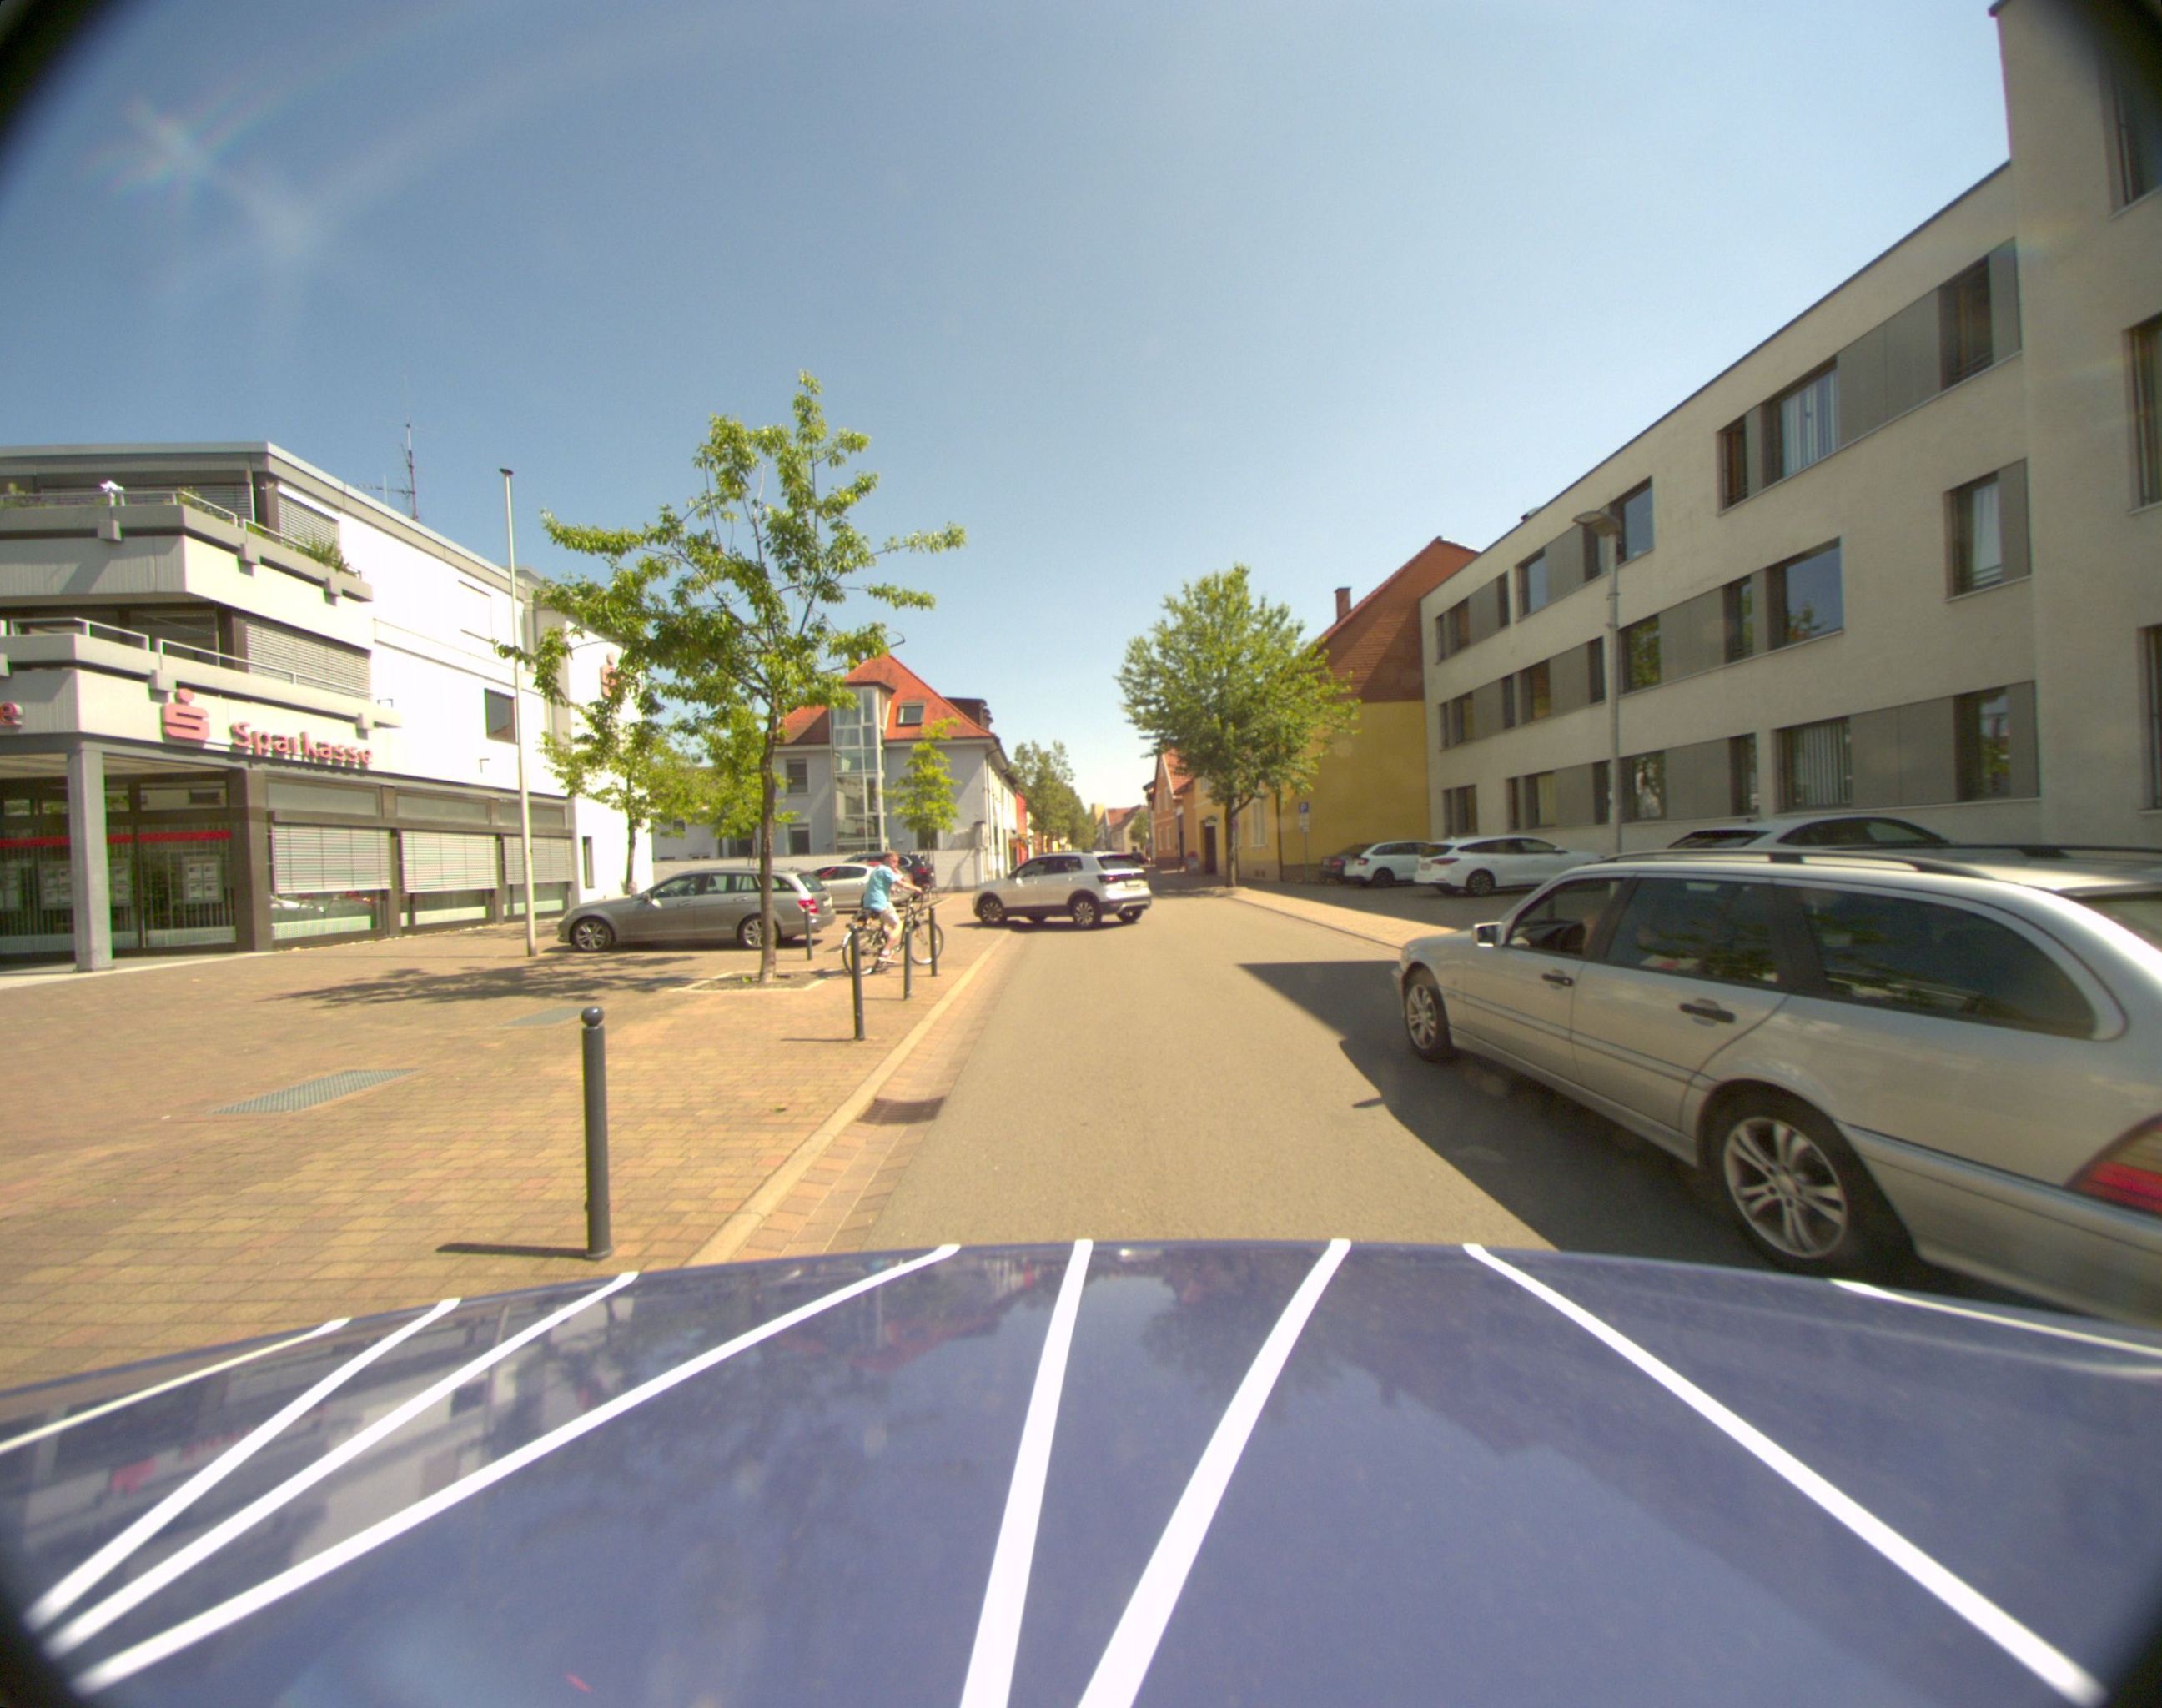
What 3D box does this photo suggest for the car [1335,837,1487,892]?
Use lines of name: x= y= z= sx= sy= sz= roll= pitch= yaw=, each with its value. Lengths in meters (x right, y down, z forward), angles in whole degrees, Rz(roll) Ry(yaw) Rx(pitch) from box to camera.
car: x=10.471 y=0.325 z=24.316 sx=3.997 sy=1.442 sz=1.807 roll=-4 pitch=0 yaw=-1

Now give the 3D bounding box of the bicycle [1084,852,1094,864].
bicycle: x=1.000 y=0.450 z=91.829 sx=0.959 sy=1.363 sz=2.406 roll=-2 pitch=0 yaw=4

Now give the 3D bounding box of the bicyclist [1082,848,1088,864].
bicyclist: x=0.458 y=0.242 z=87.409 sx=0.645 sy=1.766 sz=0.722 roll=0 pitch=-1 yaw=6

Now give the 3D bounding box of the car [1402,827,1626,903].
car: x=10.831 y=0.250 z=19.247 sx=4.515 sy=1.545 sz=1.934 roll=-4 pitch=1 yaw=0

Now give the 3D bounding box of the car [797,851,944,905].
car: x=-7.362 y=0.826 z=26.990 sx=4.643 sy=1.760 sz=2.147 roll=-1 pitch=0 yaw=-2

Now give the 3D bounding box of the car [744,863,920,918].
car: x=-7.121 y=1.026 z=22.107 sx=4.549 sy=1.432 sz=1.838 roll=-1 pitch=0 yaw=-6

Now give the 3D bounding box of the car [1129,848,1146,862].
car: x=7.259 y=0.112 z=97.162 sx=1.862 sy=1.620 sz=4.049 roll=-2 pitch=0 yaw=8

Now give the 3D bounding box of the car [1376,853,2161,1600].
car: x=3.225 y=0.797 z=3.605 sx=1.885 sy=1.456 sz=4.435 roll=-2 pitch=1 yaw=0

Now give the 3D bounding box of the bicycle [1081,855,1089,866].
bicycle: x=0.452 y=0.756 z=87.335 sx=0.635 sy=1.227 sz=1.895 roll=0 pitch=-1 yaw=6

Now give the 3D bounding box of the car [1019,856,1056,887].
car: x=-2.221 y=0.864 z=39.633 sx=1.708 sy=1.472 sz=3.921 roll=-1 pitch=0 yaw=-1

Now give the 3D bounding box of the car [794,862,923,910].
car: x=-7.147 y=1.012 z=24.682 sx=3.740 sy=1.444 sz=1.744 roll=-1 pitch=0 yaw=-6

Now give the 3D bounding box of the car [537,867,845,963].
car: x=-6.879 y=1.039 z=13.876 sx=4.589 sy=1.504 sz=1.915 roll=-1 pitch=1 yaw=-6

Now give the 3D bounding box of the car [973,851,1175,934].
car: x=-0.211 y=0.760 z=16.307 sx=3.989 sy=1.564 sz=1.861 roll=-1 pitch=0 yaw=36

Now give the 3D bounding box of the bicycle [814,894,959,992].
bicycle: x=-2.633 y=1.171 z=10.489 sx=0.674 sy=1.103 sz=1.899 roll=-2 pitch=1 yaw=36

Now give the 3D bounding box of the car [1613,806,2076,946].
car: x=10.678 y=0.278 z=10.929 sx=4.518 sy=1.545 sz=2.147 roll=-4 pitch=1 yaw=-1

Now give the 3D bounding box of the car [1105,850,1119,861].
car: x=6.544 y=0.244 z=159.896 sx=2.443 sy=2.224 sz=4.959 roll=-2 pitch=0 yaw=-3

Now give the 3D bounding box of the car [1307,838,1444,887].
car: x=10.378 y=0.312 z=26.975 sx=3.998 sy=1.423 sz=1.972 roll=-4 pitch=0 yaw=-4

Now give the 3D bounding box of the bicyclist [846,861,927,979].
bicyclist: x=-2.670 y=0.879 z=10.466 sx=0.669 sy=1.518 sz=0.763 roll=-2 pitch=1 yaw=36
